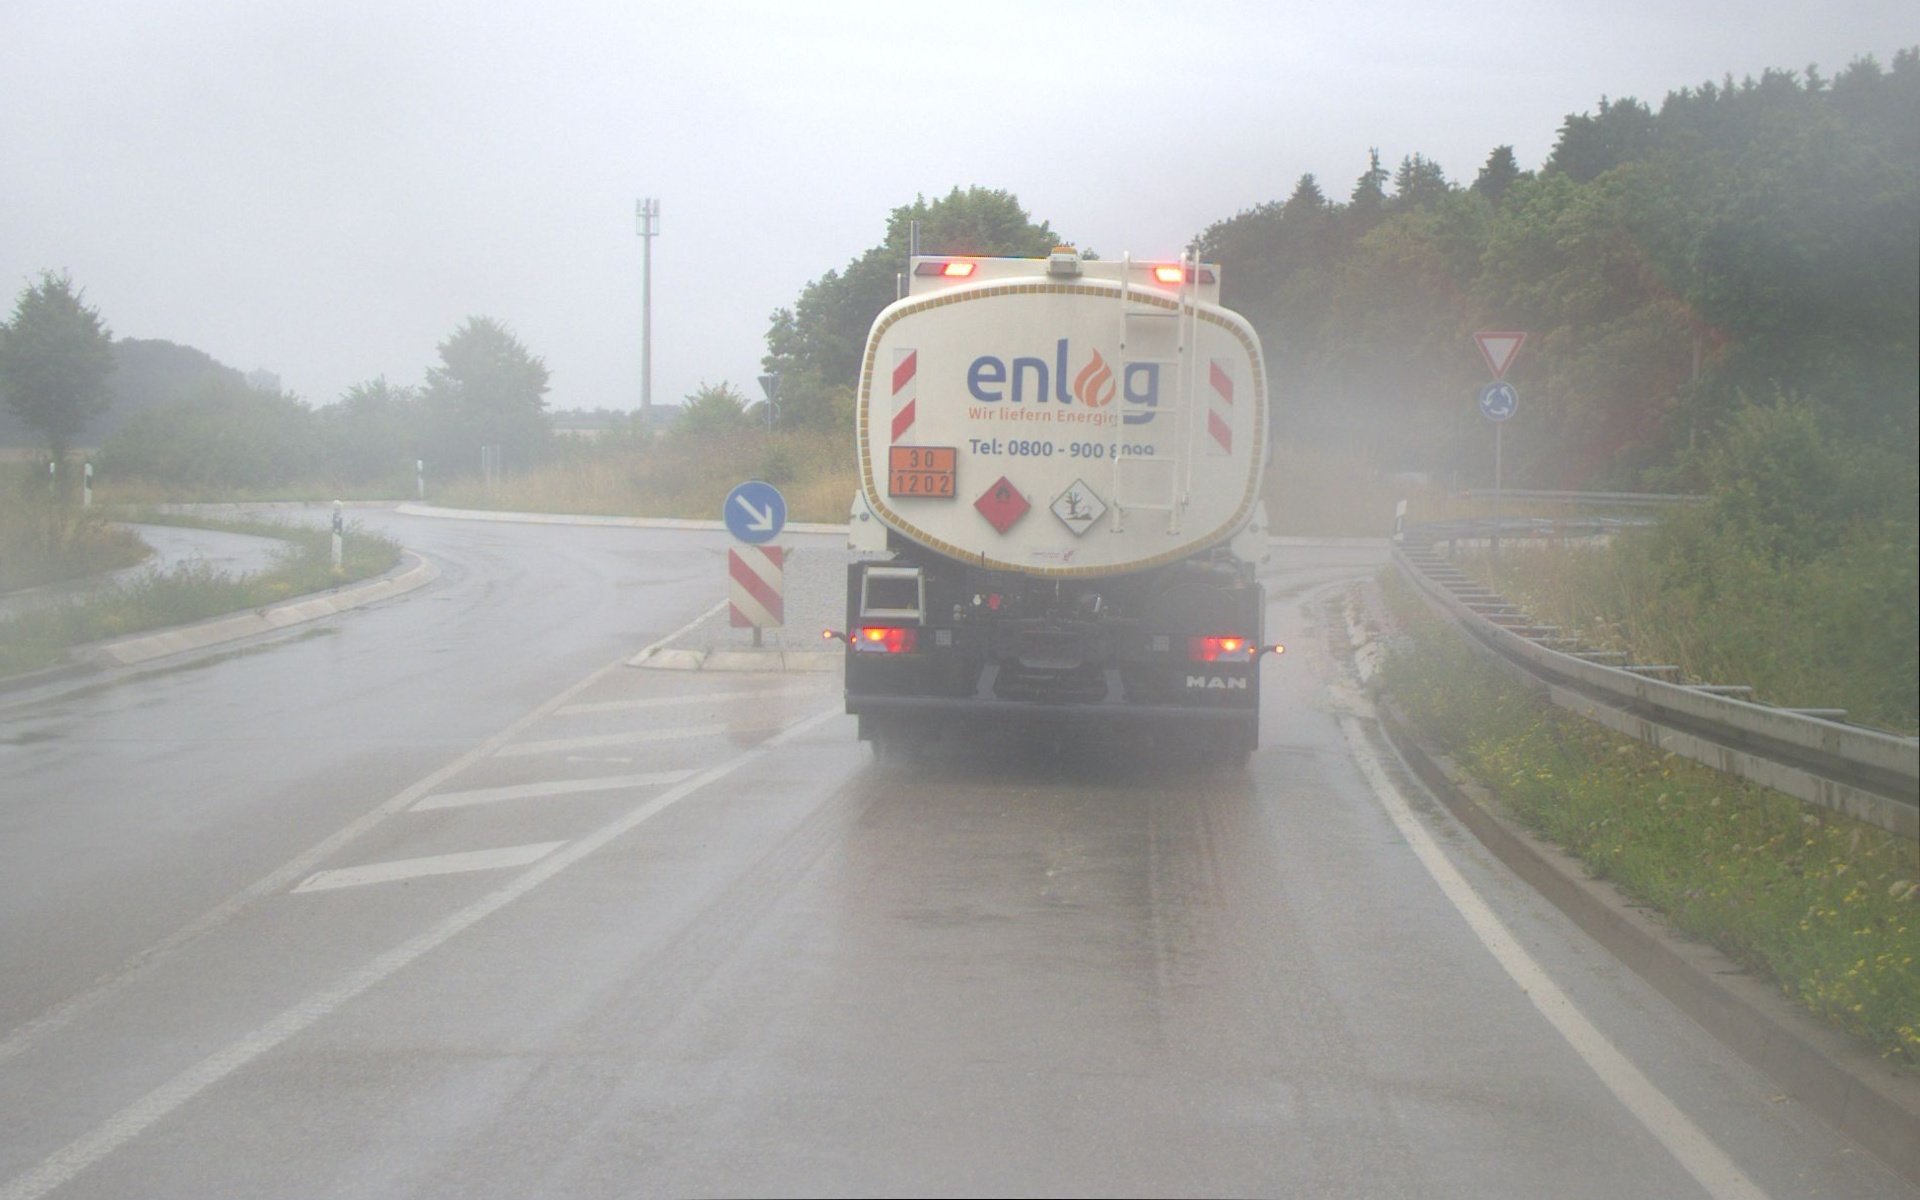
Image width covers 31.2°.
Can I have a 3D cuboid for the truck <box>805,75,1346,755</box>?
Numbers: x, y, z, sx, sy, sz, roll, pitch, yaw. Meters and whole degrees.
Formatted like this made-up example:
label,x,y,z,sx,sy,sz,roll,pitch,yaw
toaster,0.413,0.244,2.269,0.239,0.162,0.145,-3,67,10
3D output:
label,x,y,z,sx,sy,sz,roll,pitch,yaw
truck,0.818,-1.232,23.955,3.039,3.838,8.823,1,2,2
